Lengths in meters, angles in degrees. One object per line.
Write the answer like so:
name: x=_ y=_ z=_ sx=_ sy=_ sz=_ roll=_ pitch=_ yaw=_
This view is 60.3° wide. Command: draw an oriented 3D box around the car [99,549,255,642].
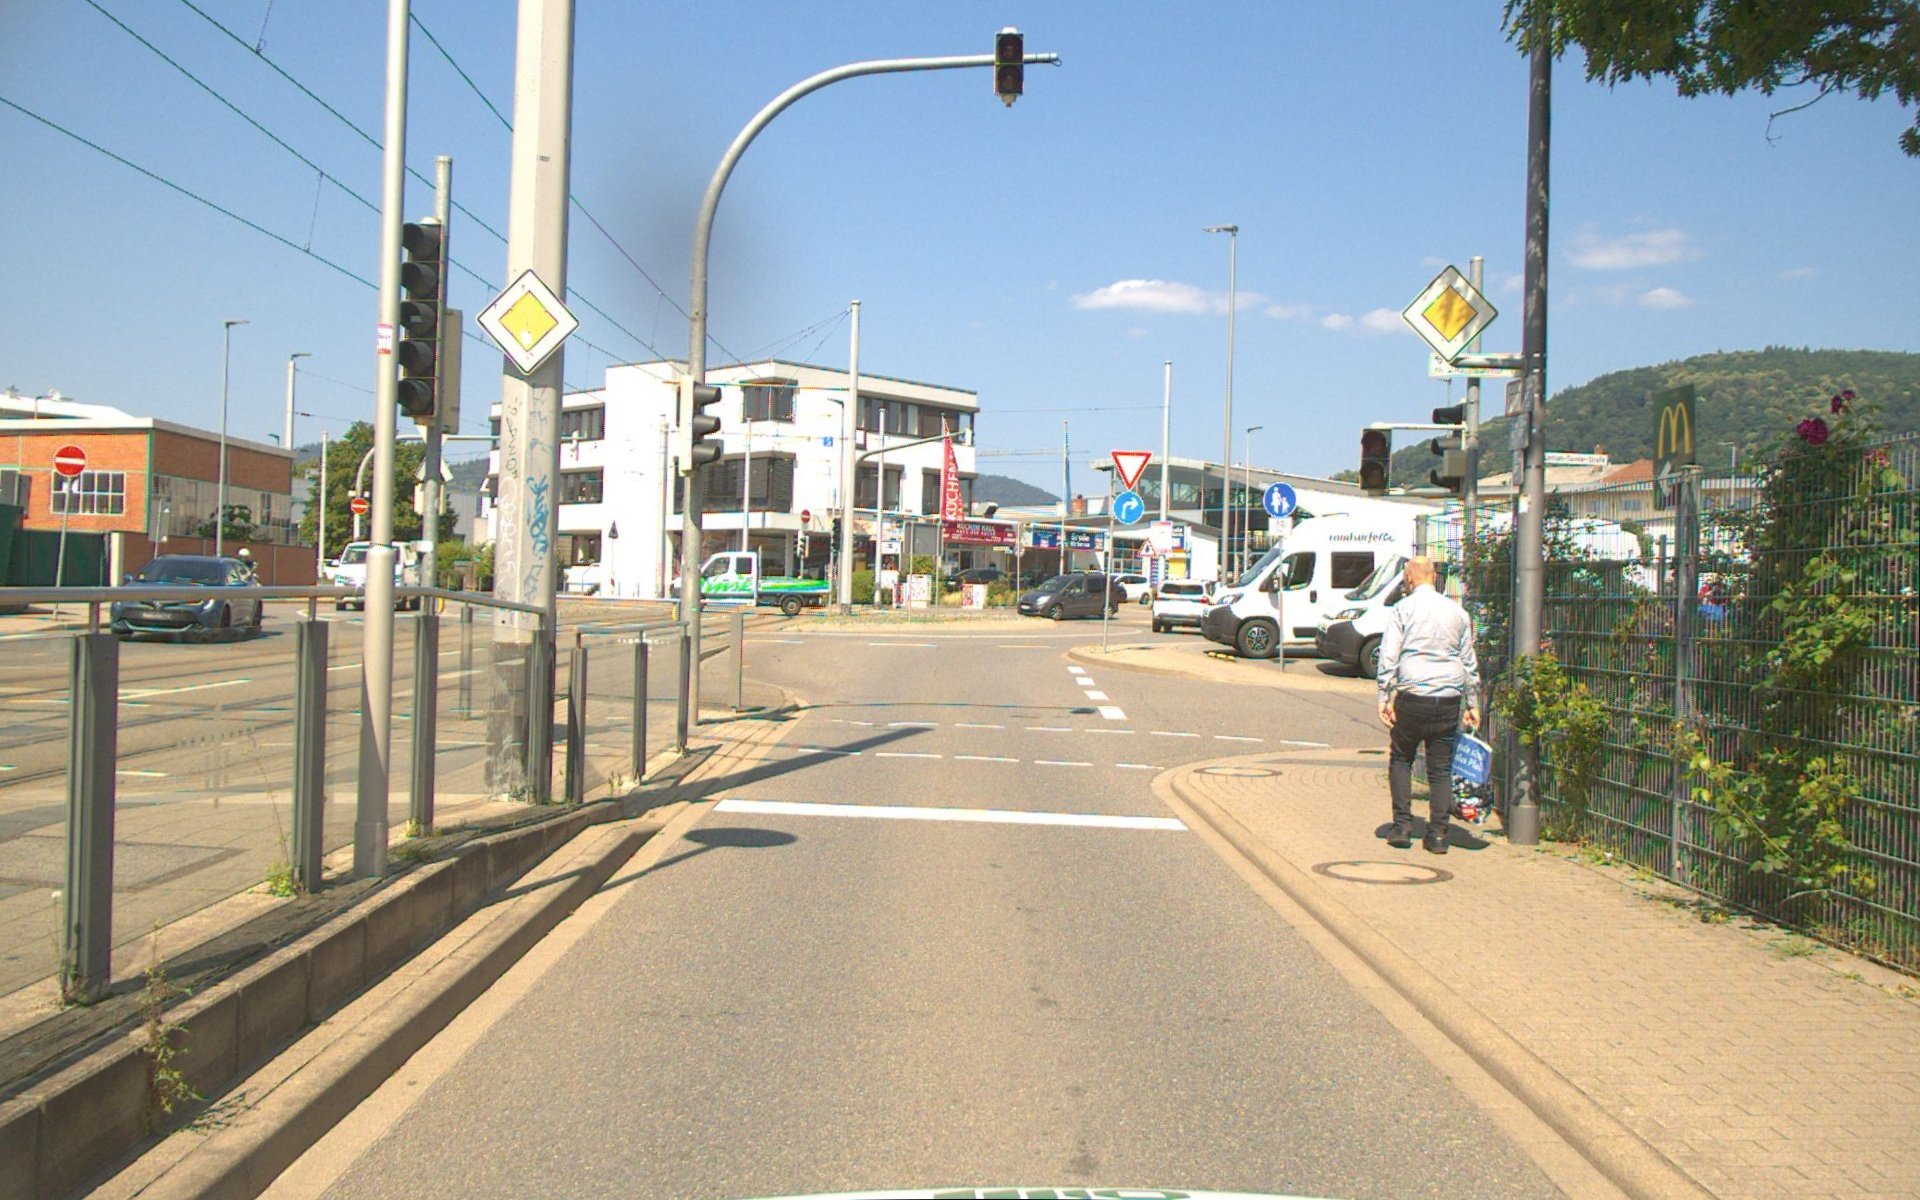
car: x=-13.774 y=-0.127 z=29.349 sx=1.877 sy=1.467 sz=4.573 roll=2 pitch=1 yaw=-18

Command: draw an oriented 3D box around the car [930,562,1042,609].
car: x=1.216 y=-0.637 z=75.410 sx=5.238 sy=2.000 sz=1.935 roll=1 pitch=1 yaw=-44

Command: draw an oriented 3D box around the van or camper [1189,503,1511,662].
van or camper: x=7.388 y=-0.352 z=31.821 sx=5.690 sy=2.822 sz=2.092 roll=1 pitch=1 yaw=2

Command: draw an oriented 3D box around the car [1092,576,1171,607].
car: x=9.571 y=-0.439 z=92.041 sx=1.853 sy=1.616 sz=4.897 roll=0 pitch=-1 yaw=42

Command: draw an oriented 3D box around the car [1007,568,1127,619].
car: x=4.255 y=-0.260 z=65.644 sx=4.348 sy=1.850 sz=1.970 roll=2 pitch=0 yaw=-30

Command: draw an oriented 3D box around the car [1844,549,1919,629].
car: x=26.848 y=-0.202 z=44.061 sx=5.338 sy=2.049 sz=2.139 roll=2 pitch=0 yaw=5

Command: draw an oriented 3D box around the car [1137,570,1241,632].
car: x=7.061 y=0.047 z=50.648 sx=1.953 sy=1.763 sz=4.562 roll=-1 pitch=-1 yaw=24

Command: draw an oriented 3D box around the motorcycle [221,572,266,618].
motorcycle: x=-17.051 y=-0.120 z=39.380 sx=0.810 sy=1.029 sz=1.953 roll=2 pitch=0 yaw=-20

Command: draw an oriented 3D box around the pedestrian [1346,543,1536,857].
pedestrian: x=2.775 y=0.551 z=9.619 sx=0.796 sy=1.729 sz=0.887 roll=1 pitch=0 yaw=-2

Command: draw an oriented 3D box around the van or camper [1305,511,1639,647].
van or camper: x=11.567 y=-0.460 z=37.742 sx=6.917 sy=2.998 sz=2.335 roll=0 pitch=0 yaw=0

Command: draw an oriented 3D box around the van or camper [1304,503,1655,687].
van or camper: x=8.939 y=-0.130 z=28.881 sx=5.391 sy=2.862 sz=2.049 roll=2 pitch=2 yaw=4

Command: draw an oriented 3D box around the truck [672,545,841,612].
truck: x=-7.719 y=-0.811 z=62.956 sx=6.248 sy=2.378 sz=2.206 roll=1 pitch=0 yaw=-8

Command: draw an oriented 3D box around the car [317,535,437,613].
car: x=-16.879 y=-0.754 z=48.154 sx=2.121 sy=2.048 sz=5.011 roll=3 pitch=0 yaw=-7

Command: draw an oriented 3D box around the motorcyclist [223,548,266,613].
motorcyclist: x=-17.068 y=-0.472 z=39.458 sx=0.823 sy=1.501 sz=0.957 roll=2 pitch=0 yaw=-20
